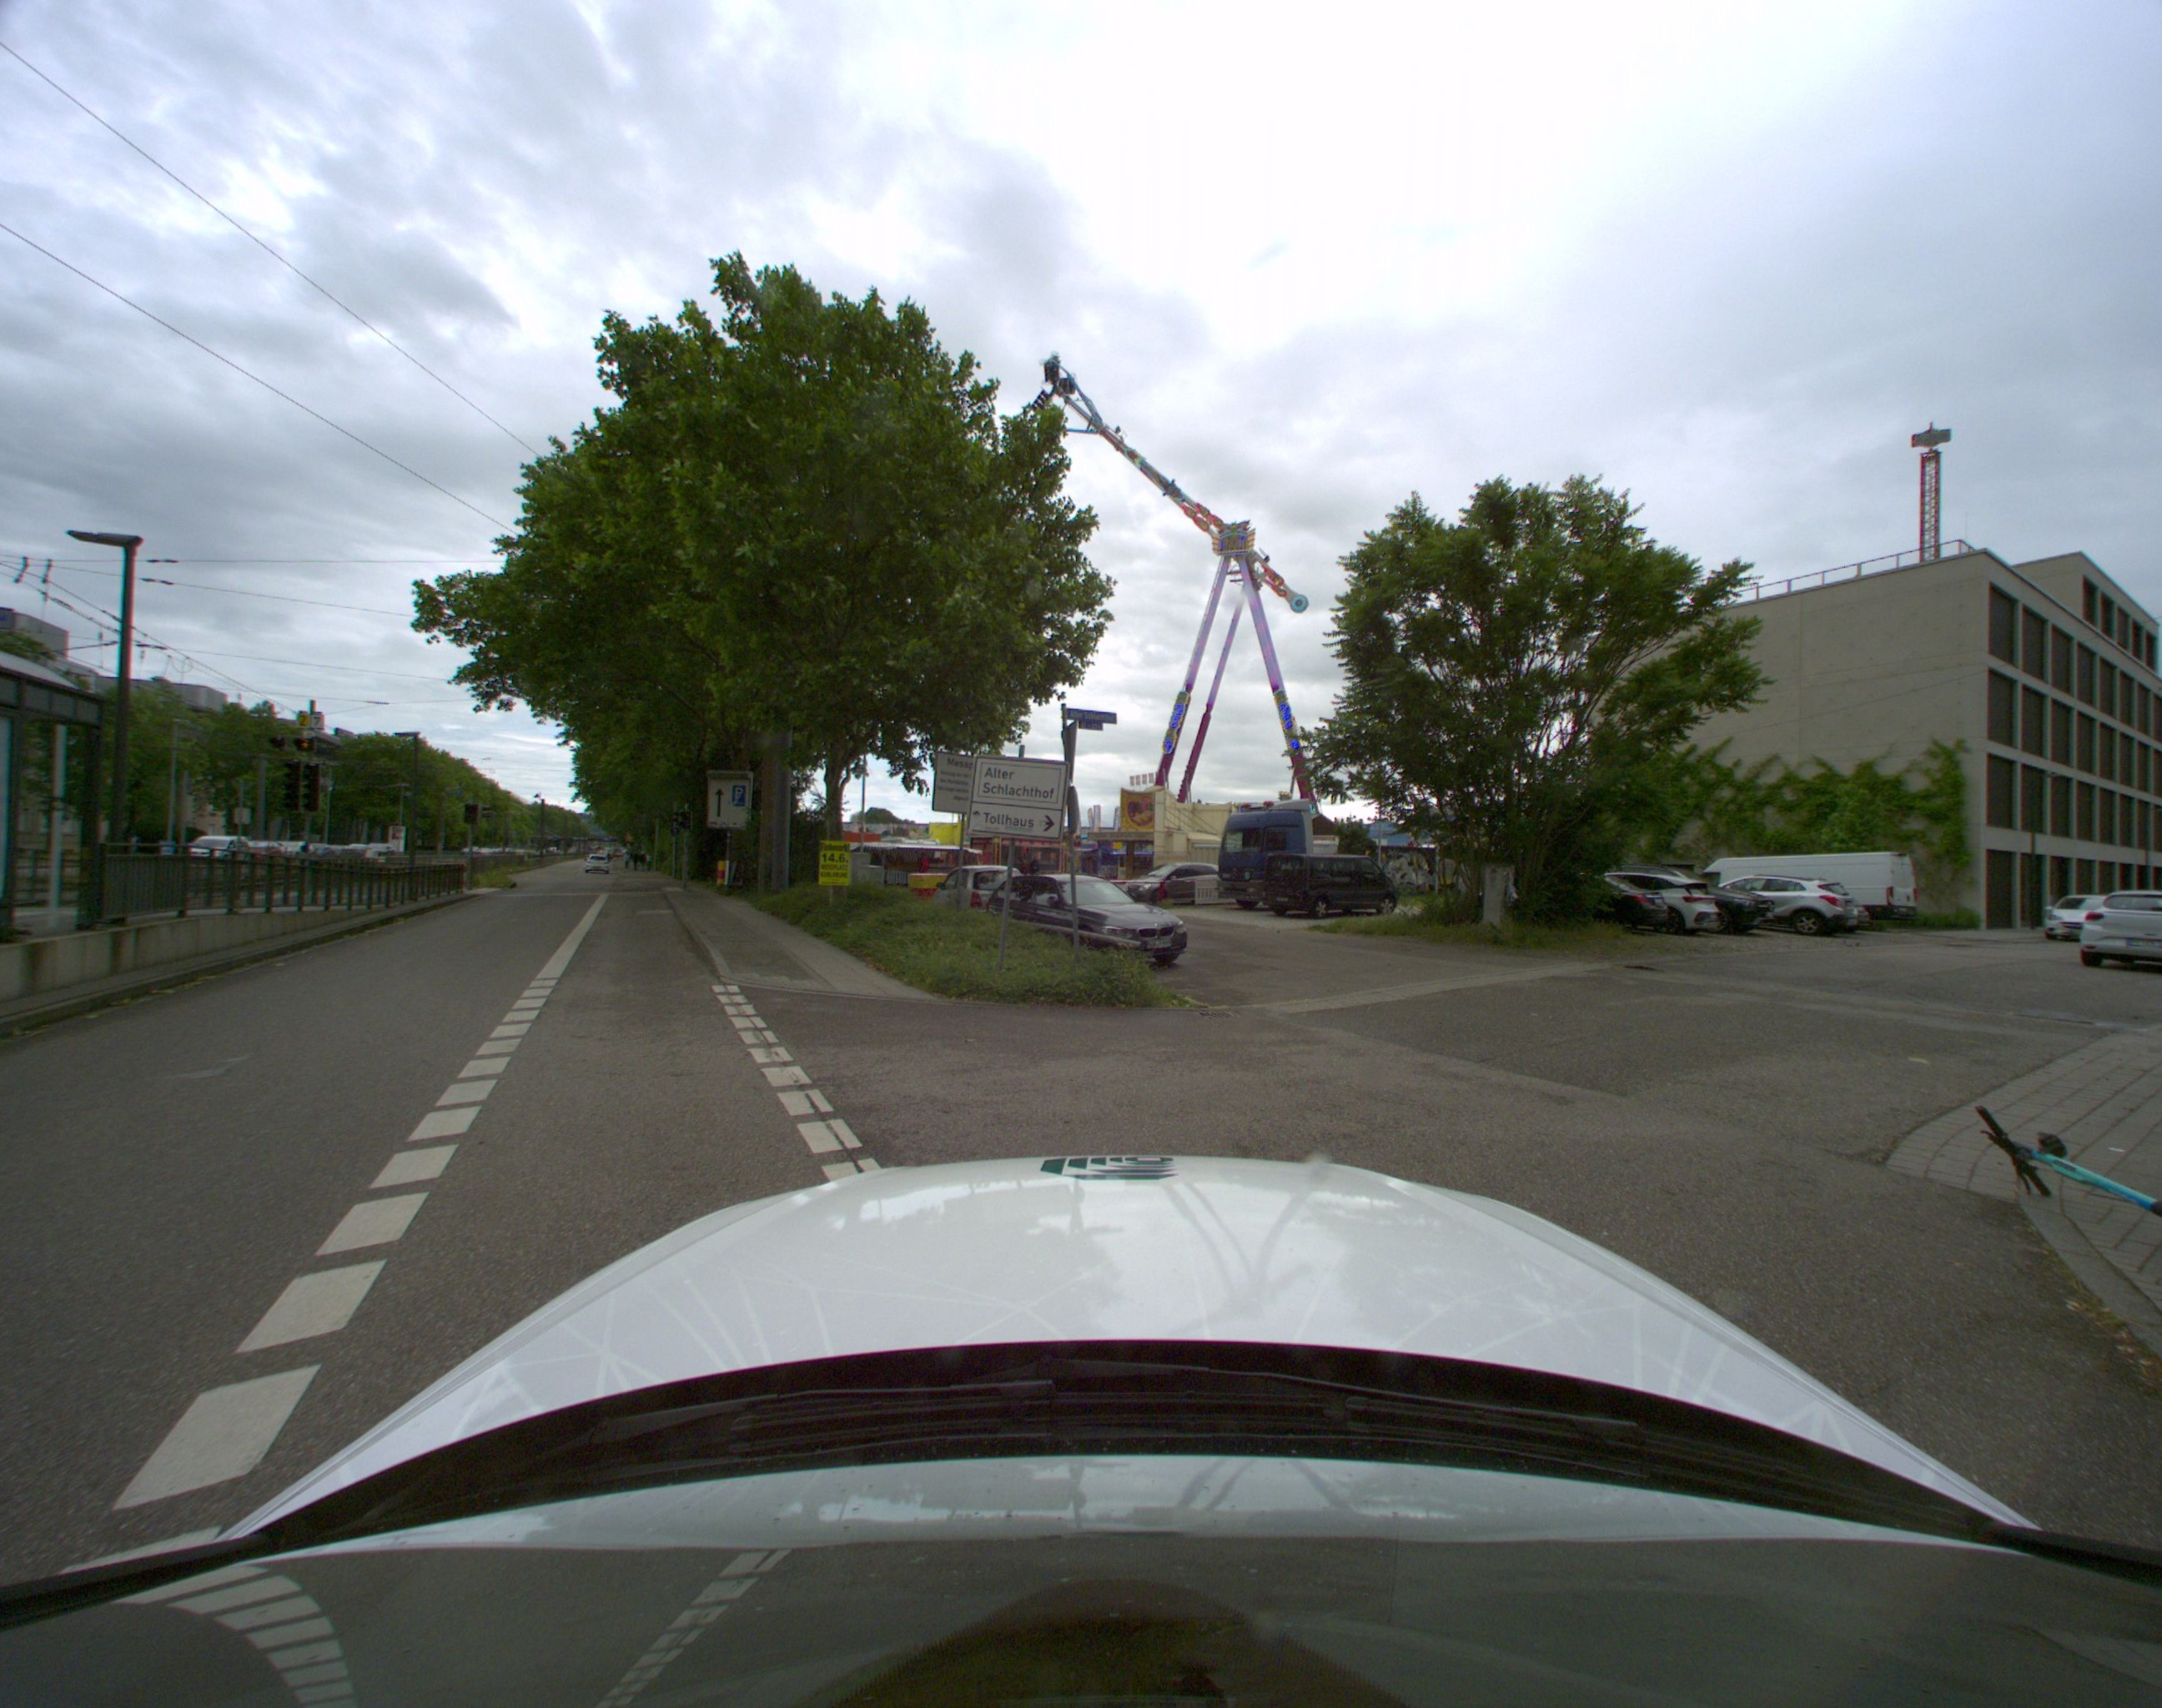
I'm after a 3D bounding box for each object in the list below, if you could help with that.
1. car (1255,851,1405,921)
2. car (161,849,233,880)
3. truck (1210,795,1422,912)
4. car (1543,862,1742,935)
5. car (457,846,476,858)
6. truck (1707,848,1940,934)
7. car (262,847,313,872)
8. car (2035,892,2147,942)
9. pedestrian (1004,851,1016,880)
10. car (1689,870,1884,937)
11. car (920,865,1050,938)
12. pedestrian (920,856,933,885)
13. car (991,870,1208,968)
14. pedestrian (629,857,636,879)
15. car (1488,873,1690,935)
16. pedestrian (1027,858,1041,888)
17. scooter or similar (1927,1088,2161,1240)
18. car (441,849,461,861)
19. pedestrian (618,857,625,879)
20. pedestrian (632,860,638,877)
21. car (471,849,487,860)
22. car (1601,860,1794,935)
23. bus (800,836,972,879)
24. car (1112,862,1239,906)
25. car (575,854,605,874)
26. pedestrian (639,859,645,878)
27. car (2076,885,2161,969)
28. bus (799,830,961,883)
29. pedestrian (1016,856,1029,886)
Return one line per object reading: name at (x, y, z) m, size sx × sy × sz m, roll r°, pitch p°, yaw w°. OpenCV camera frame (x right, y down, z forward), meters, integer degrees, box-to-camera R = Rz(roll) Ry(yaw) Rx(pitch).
car at (7.912, 0.939, 25.784) m, size 4.603 × 2.013 × 1.980 m, roll 0°, pitch 1°, yaw -31°
car at (-54.341, 0.659, 50.147) m, size 2.007 × 1.794 × 3.958 m, roll 2°, pitch -1°, yaw -33°
truck at (8.749, 0.092, 29.828) m, size 8.243 × 3.823 × 2.574 m, roll 1°, pitch -1°, yaw -31°
car at (14.996, 1.136, 21.970) m, size 1.898 × 1.644 × 3.961 m, roll 2°, pitch 0°, yaw -32°
car at (-96.385, -0.305, 127.804) m, size 2.007 × 1.794 × 3.958 m, roll 2°, pitch -1°, yaw -33°
truck at (26.381, 1.199, 29.260) m, size 2.059 × 2.728 × 5.807 m, roll 2°, pitch 0°, yaw -26°
car at (-59.967, 0.426, 61.624) m, size 2.007 × 1.794 × 3.958 m, roll 2°, pitch -1°, yaw -33°
car at (33.088, 1.999, 26.664) m, size 4.014 × 1.453 × 1.872 m, roll 1°, pitch -1°, yaw -33°
pedestrian at (-4.199, 0.668, 48.122) m, size 0.496 × 1.687 × 0.518 m, roll 2°, pitch -2°, yaw -32°
car at (20.685, 1.391, 24.044) m, size 1.898 × 1.644 × 3.961 m, roll 2°, pitch 0°, yaw -32°
car at (-2.458, 1.079, 19.948) m, size 1.873 × 1.594 × 3.964 m, roll 1°, pitch -1°, yaw -27°
pedestrian at (-7.757, 0.817, 40.919) m, size 0.496 × 1.463 × 0.518 m, roll 2°, pitch -2°, yaw -32°
car at (0.186, 1.017, 14.310) m, size 1.876 × 1.430 × 3.958 m, roll 2°, pitch -1°, yaw -34°
pedestrian at (-41.360, 1.298, 75.094) m, size 0.396 × 2.014 × 0.401 m, roll 1°, pitch -1°, yaw -14°
car at (12.915, 1.233, 20.931) m, size 1.897 × 1.350 × 3.960 m, roll 4°, pitch -3°, yaw -32°
pedestrian at (-2.680, 1.091, 46.447) m, size 0.488 × 1.687 × 0.527 m, roll 0°, pitch -2°, yaw 44°
scooter or similar at (5.122, 1.450, 3.711) m, size 1.175 × 0.349 × 1.328 m, roll 0°, pitch 0°, yaw -5°
car at (-94.991, 0.178, 122.863) m, size 2.007 × 1.794 × 3.958 m, roll 2°, pitch -1°, yaw -33°
pedestrian at (-42.234, 1.305, 74.794) m, size 0.396 × 2.014 × 0.401 m, roll 1°, pitch -1°, yaw -14°
pedestrian at (-39.142, 1.267, 71.452) m, size 0.398 × 1.444 × 0.558 m, roll 1°, pitch -1°, yaw -25°
car at (-105.458, 0.154, 142.754) m, size 2.007 × 1.794 × 3.958 m, roll 2°, pitch -1°, yaw -33°
car at (17.338, 1.141, 23.089) m, size 1.897 × 1.879 × 3.961 m, roll 2°, pitch -1°, yaw -31°
bus at (-10.880, 0.259, 46.185) m, size 9.340 × 2.227 × 1.980 m, roll 1°, pitch -1°, yaw -32°
car at (3.633, 1.123, 31.077) m, size 4.603 × 1.575 × 1.980 m, roll 1°, pitch -1°, yaw -31°
car at (-39.728, 0.826, 65.990) m, size 1.851 × 1.552 × 3.963 m, roll 1°, pitch 0°, yaw -28°
pedestrian at (-38.690, 1.279, 71.815) m, size 0.398 × 1.585 × 0.533 m, roll 2°, pitch -2°, yaw -29°
car at (20.762, 1.348, 15.426) m, size 4.013 × 1.453 × 1.873 m, roll 1°, pitch -1°, yaw -31°
bus at (-11.953, 0.226, 49.094) m, size 9.340 × 2.960 × 1.980 m, roll 1°, pitch -1°, yaw -32°
pedestrian at (-3.276, 0.973, 45.741) m, size 0.488 × 1.687 × 0.527 m, roll 0°, pitch -2°, yaw 44°
